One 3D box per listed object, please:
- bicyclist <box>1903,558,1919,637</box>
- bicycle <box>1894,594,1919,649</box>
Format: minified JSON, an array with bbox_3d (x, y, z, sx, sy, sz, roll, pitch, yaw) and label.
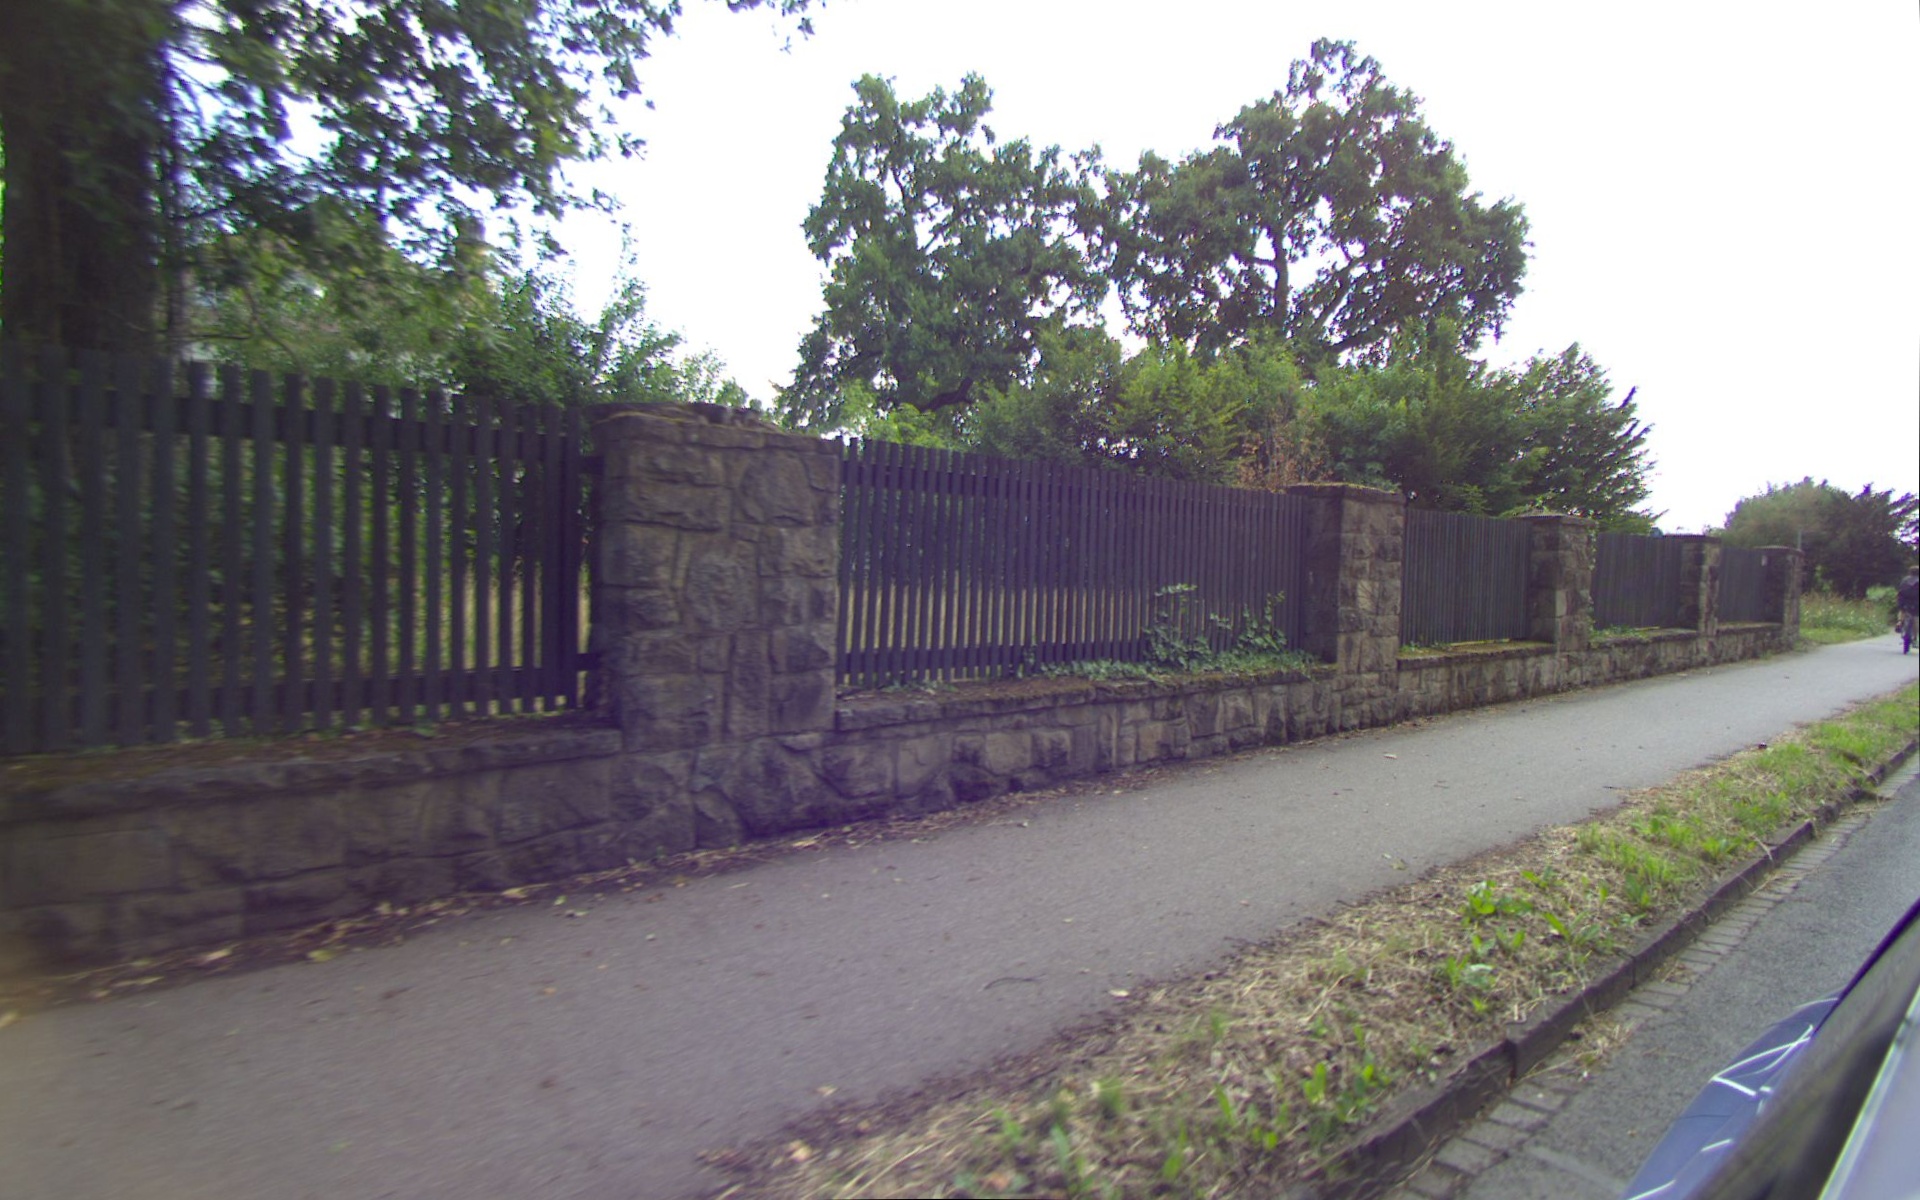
[{"bbox_3d":[20.171,-0.049,21.092,1.184,1.607,0.571,0,3,-41],"label":"bicyclist"},{"bbox_3d":[20.042,0.439,21.109,2.119,1.086,0.559,0,3,-41],"label":"bicycle"}]
